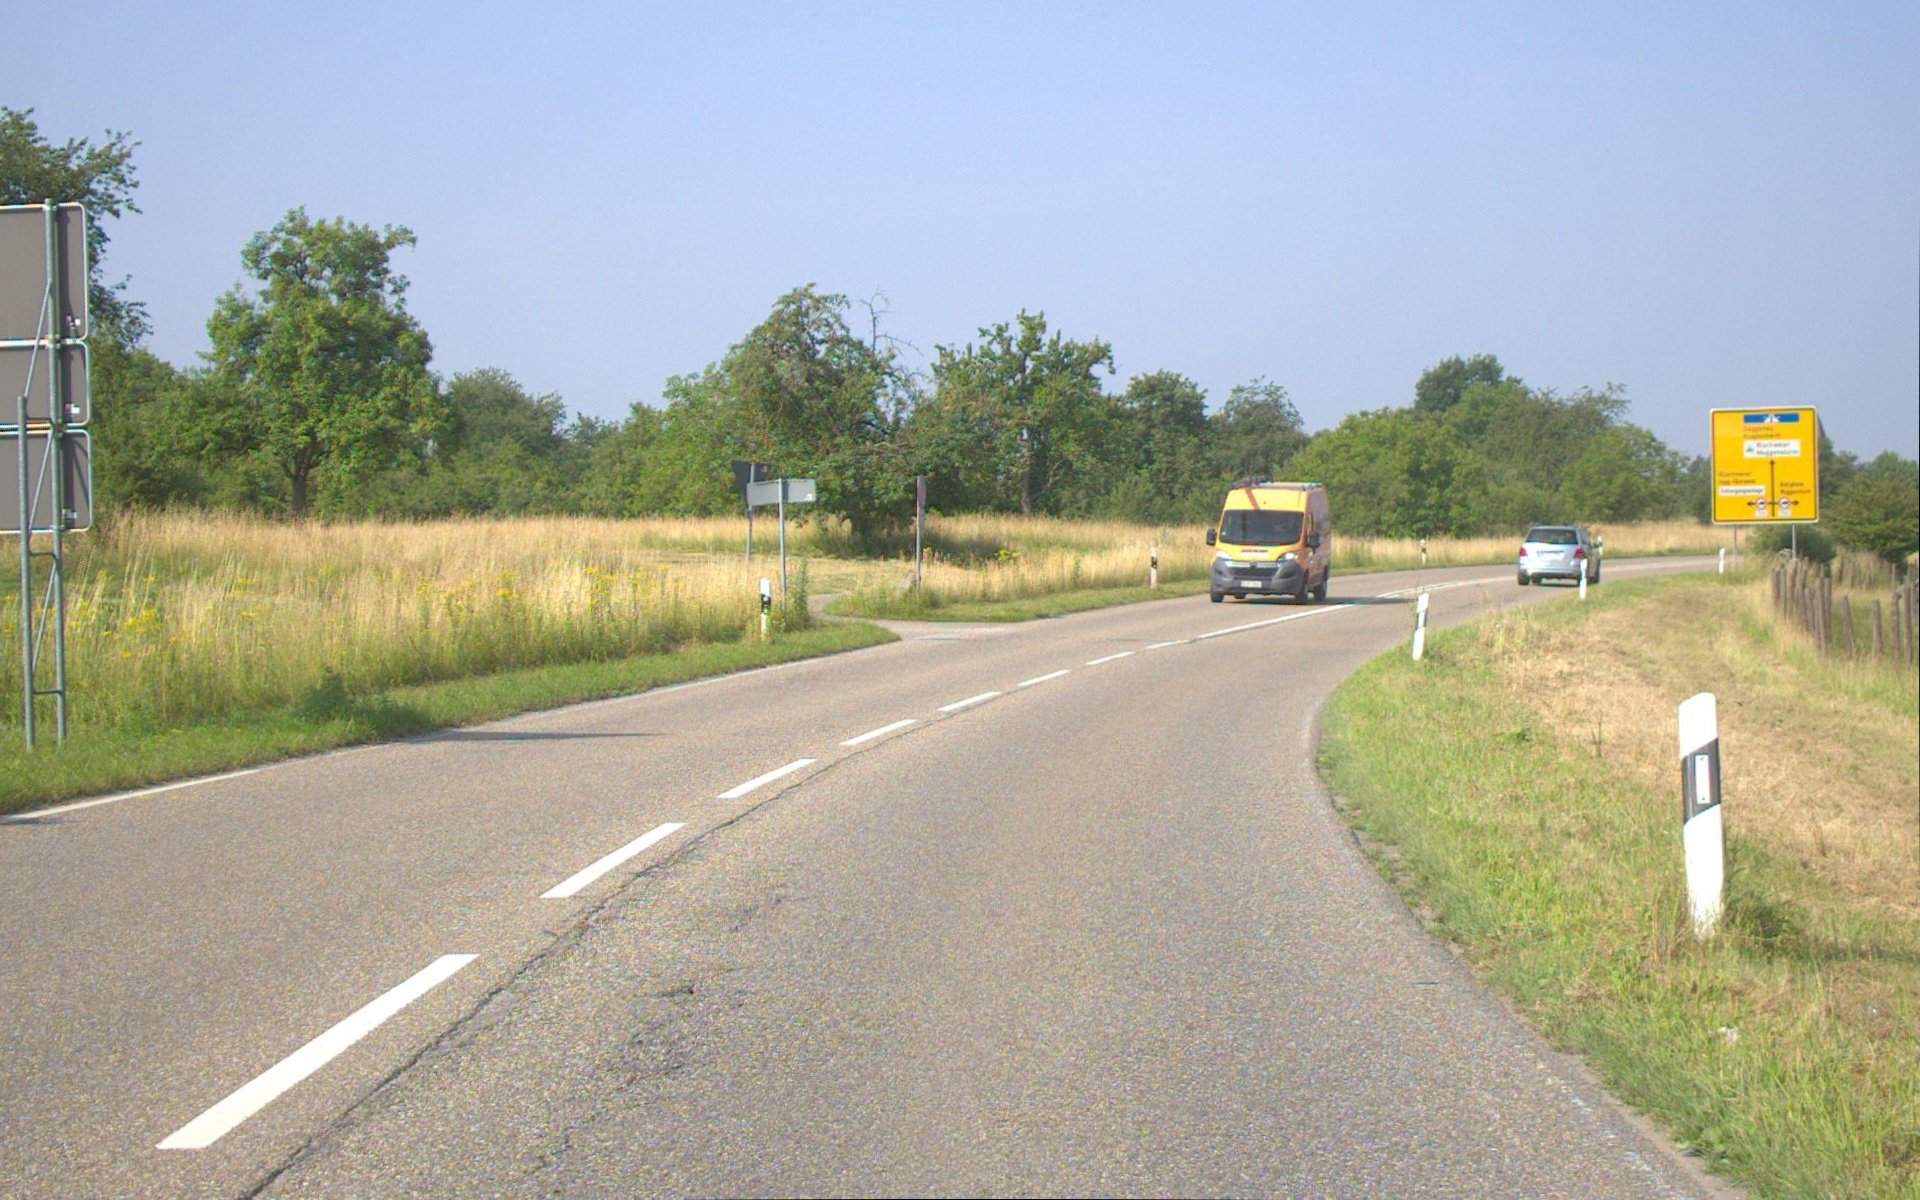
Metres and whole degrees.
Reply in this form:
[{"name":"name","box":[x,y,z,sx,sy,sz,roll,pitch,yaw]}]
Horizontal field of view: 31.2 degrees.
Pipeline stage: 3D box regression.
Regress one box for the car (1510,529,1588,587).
[{"name":"car","box":[15.850,-1.148,92.411,1.900,1.506,3.998,1,1,12]}]

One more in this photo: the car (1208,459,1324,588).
[{"name":"car","box":[6.721,-1.668,75.019,2.124,2.686,5.266,1,1,9]}]
